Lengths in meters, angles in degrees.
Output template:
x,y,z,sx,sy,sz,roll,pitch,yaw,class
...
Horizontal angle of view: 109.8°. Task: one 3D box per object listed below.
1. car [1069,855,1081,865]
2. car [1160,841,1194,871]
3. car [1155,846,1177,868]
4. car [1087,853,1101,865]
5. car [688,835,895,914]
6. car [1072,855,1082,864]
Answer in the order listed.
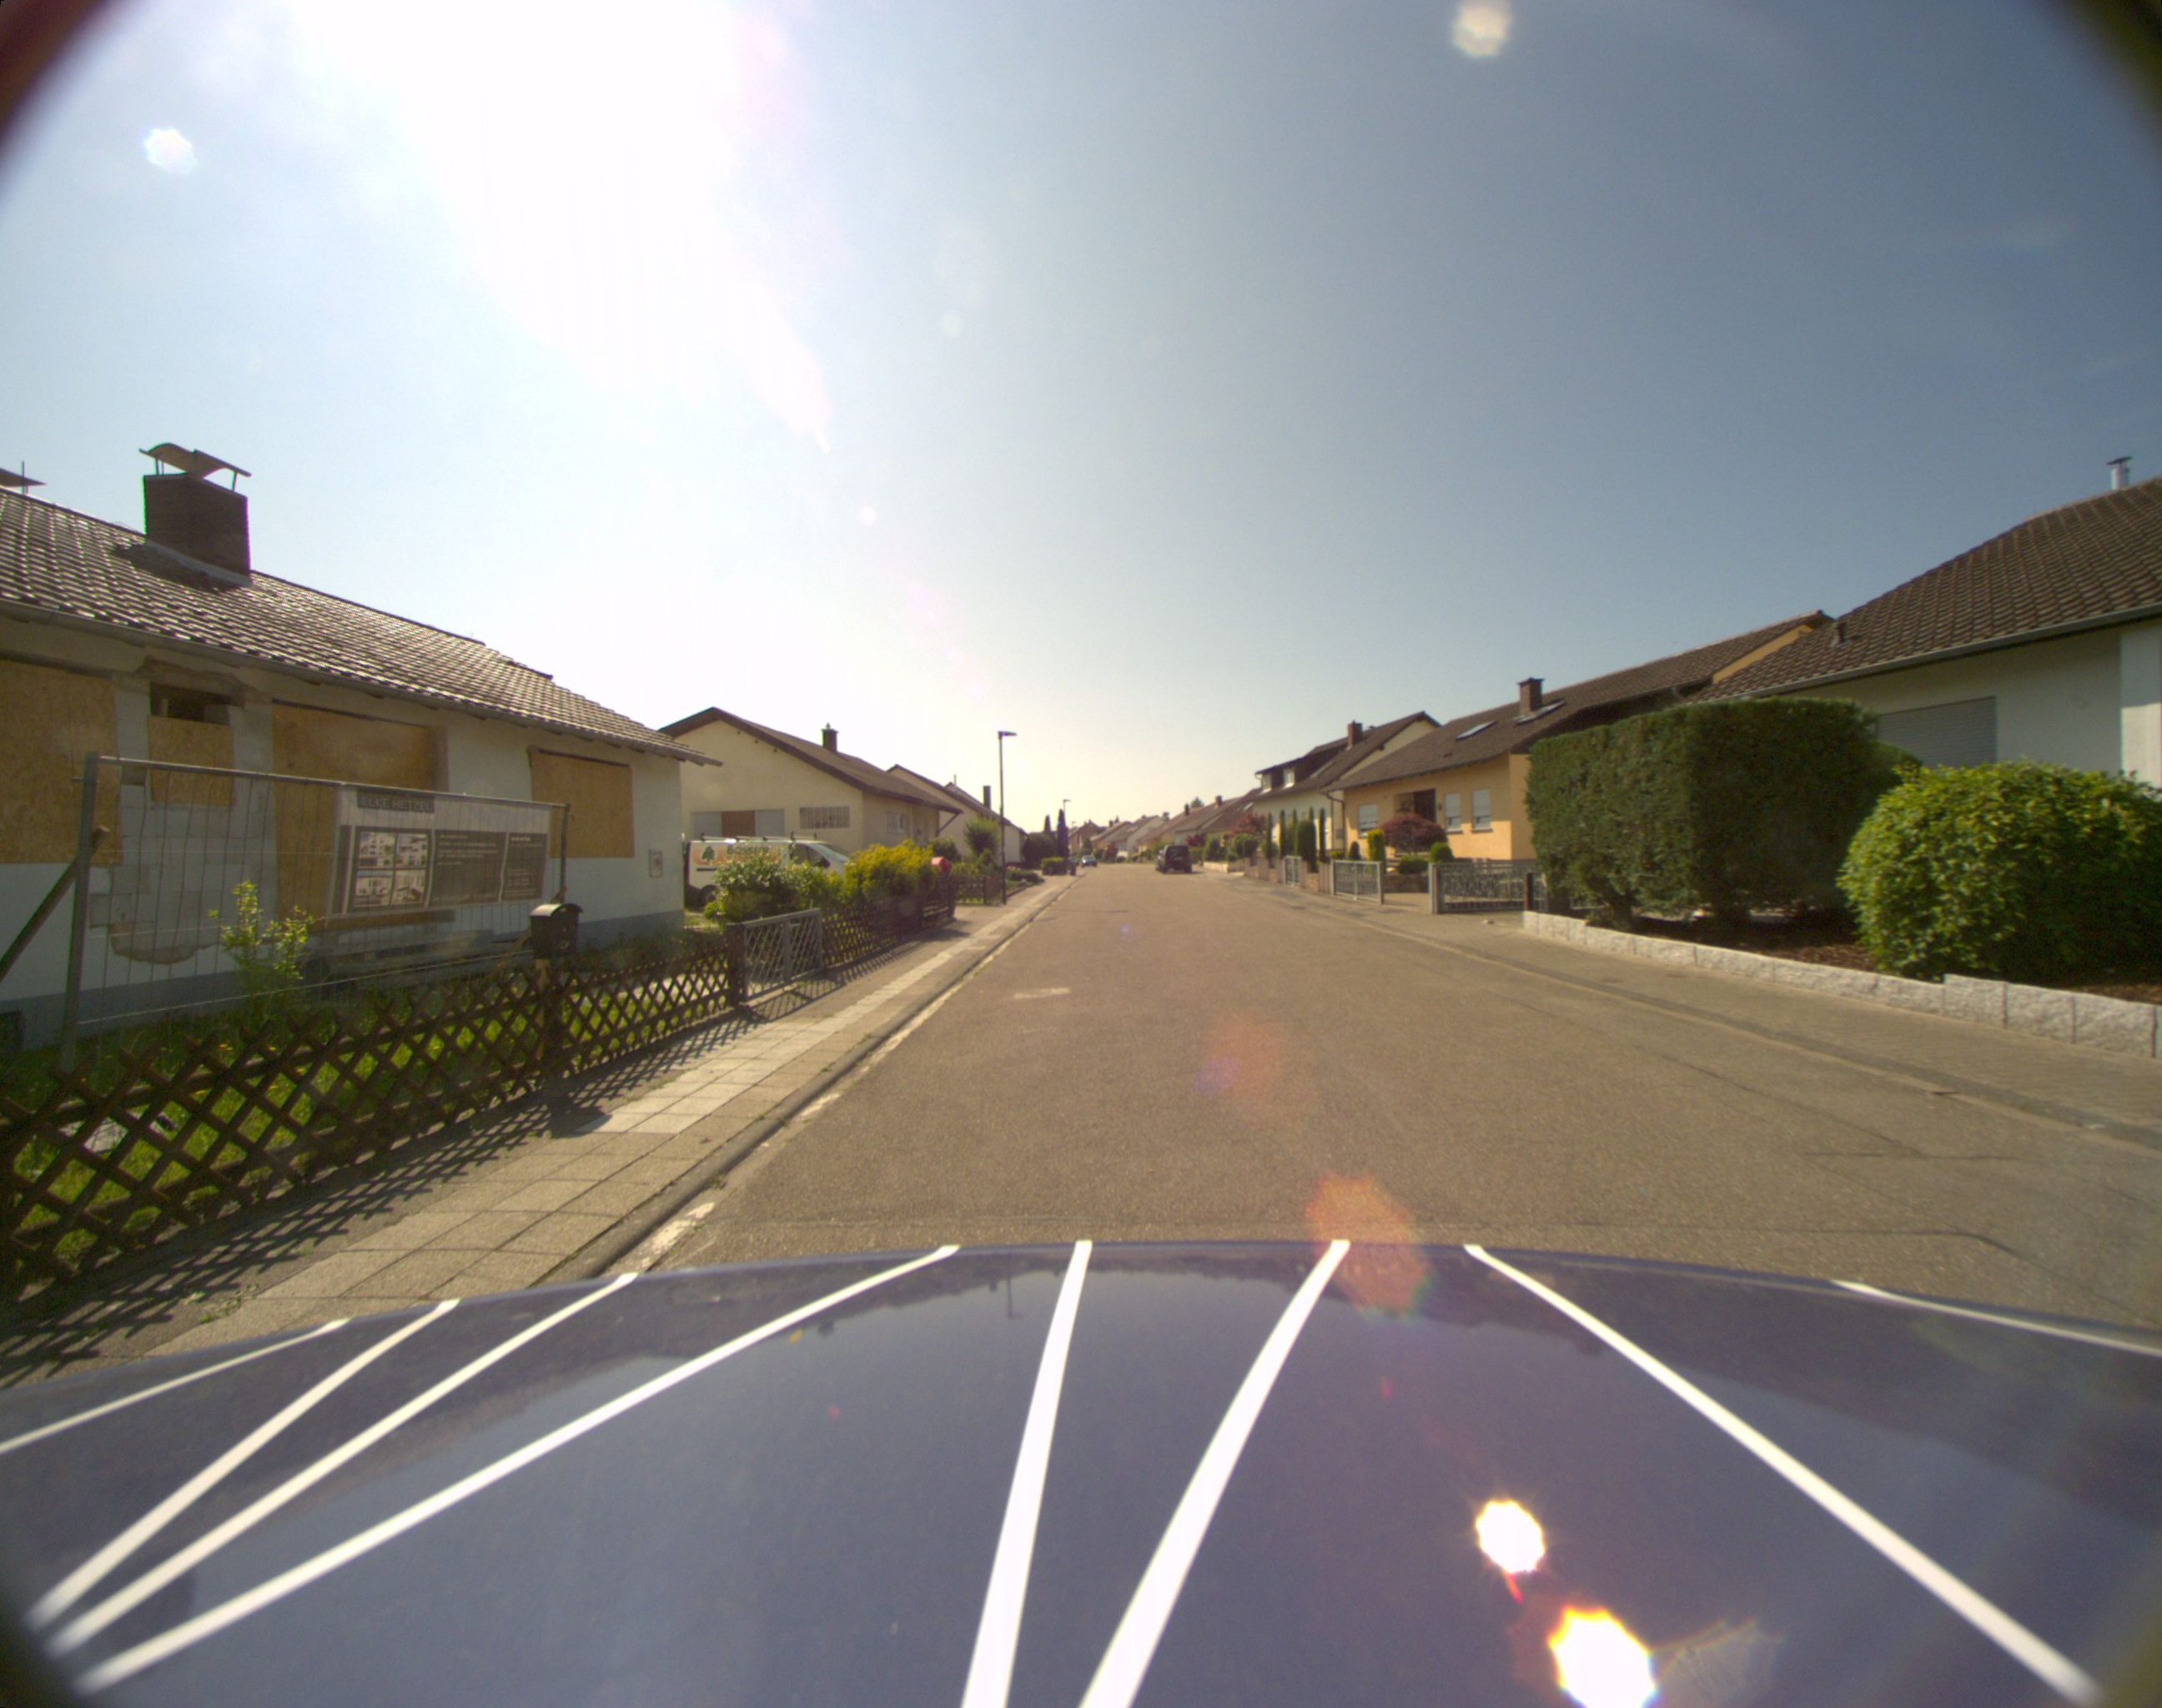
x,y,z,sx,sy,sz,roll,pitch,yaw,class
-0.806,0.844,105.533,1.459,1.270,3.102,-1,1,-4,car
6.016,0.126,48.023,1.769,1.767,3.652,-2,1,3,car
5.959,0.178,53.398,1.305,1.415,3.104,-2,1,3,car
1.522,0.600,92.807,1.459,1.270,3.102,-1,1,-3,car
-7.954,0.550,21.174,5.007,2.002,1.868,-1,1,4,car
-0.628,0.873,115.777,1.459,1.270,3.102,-1,1,-2,car
